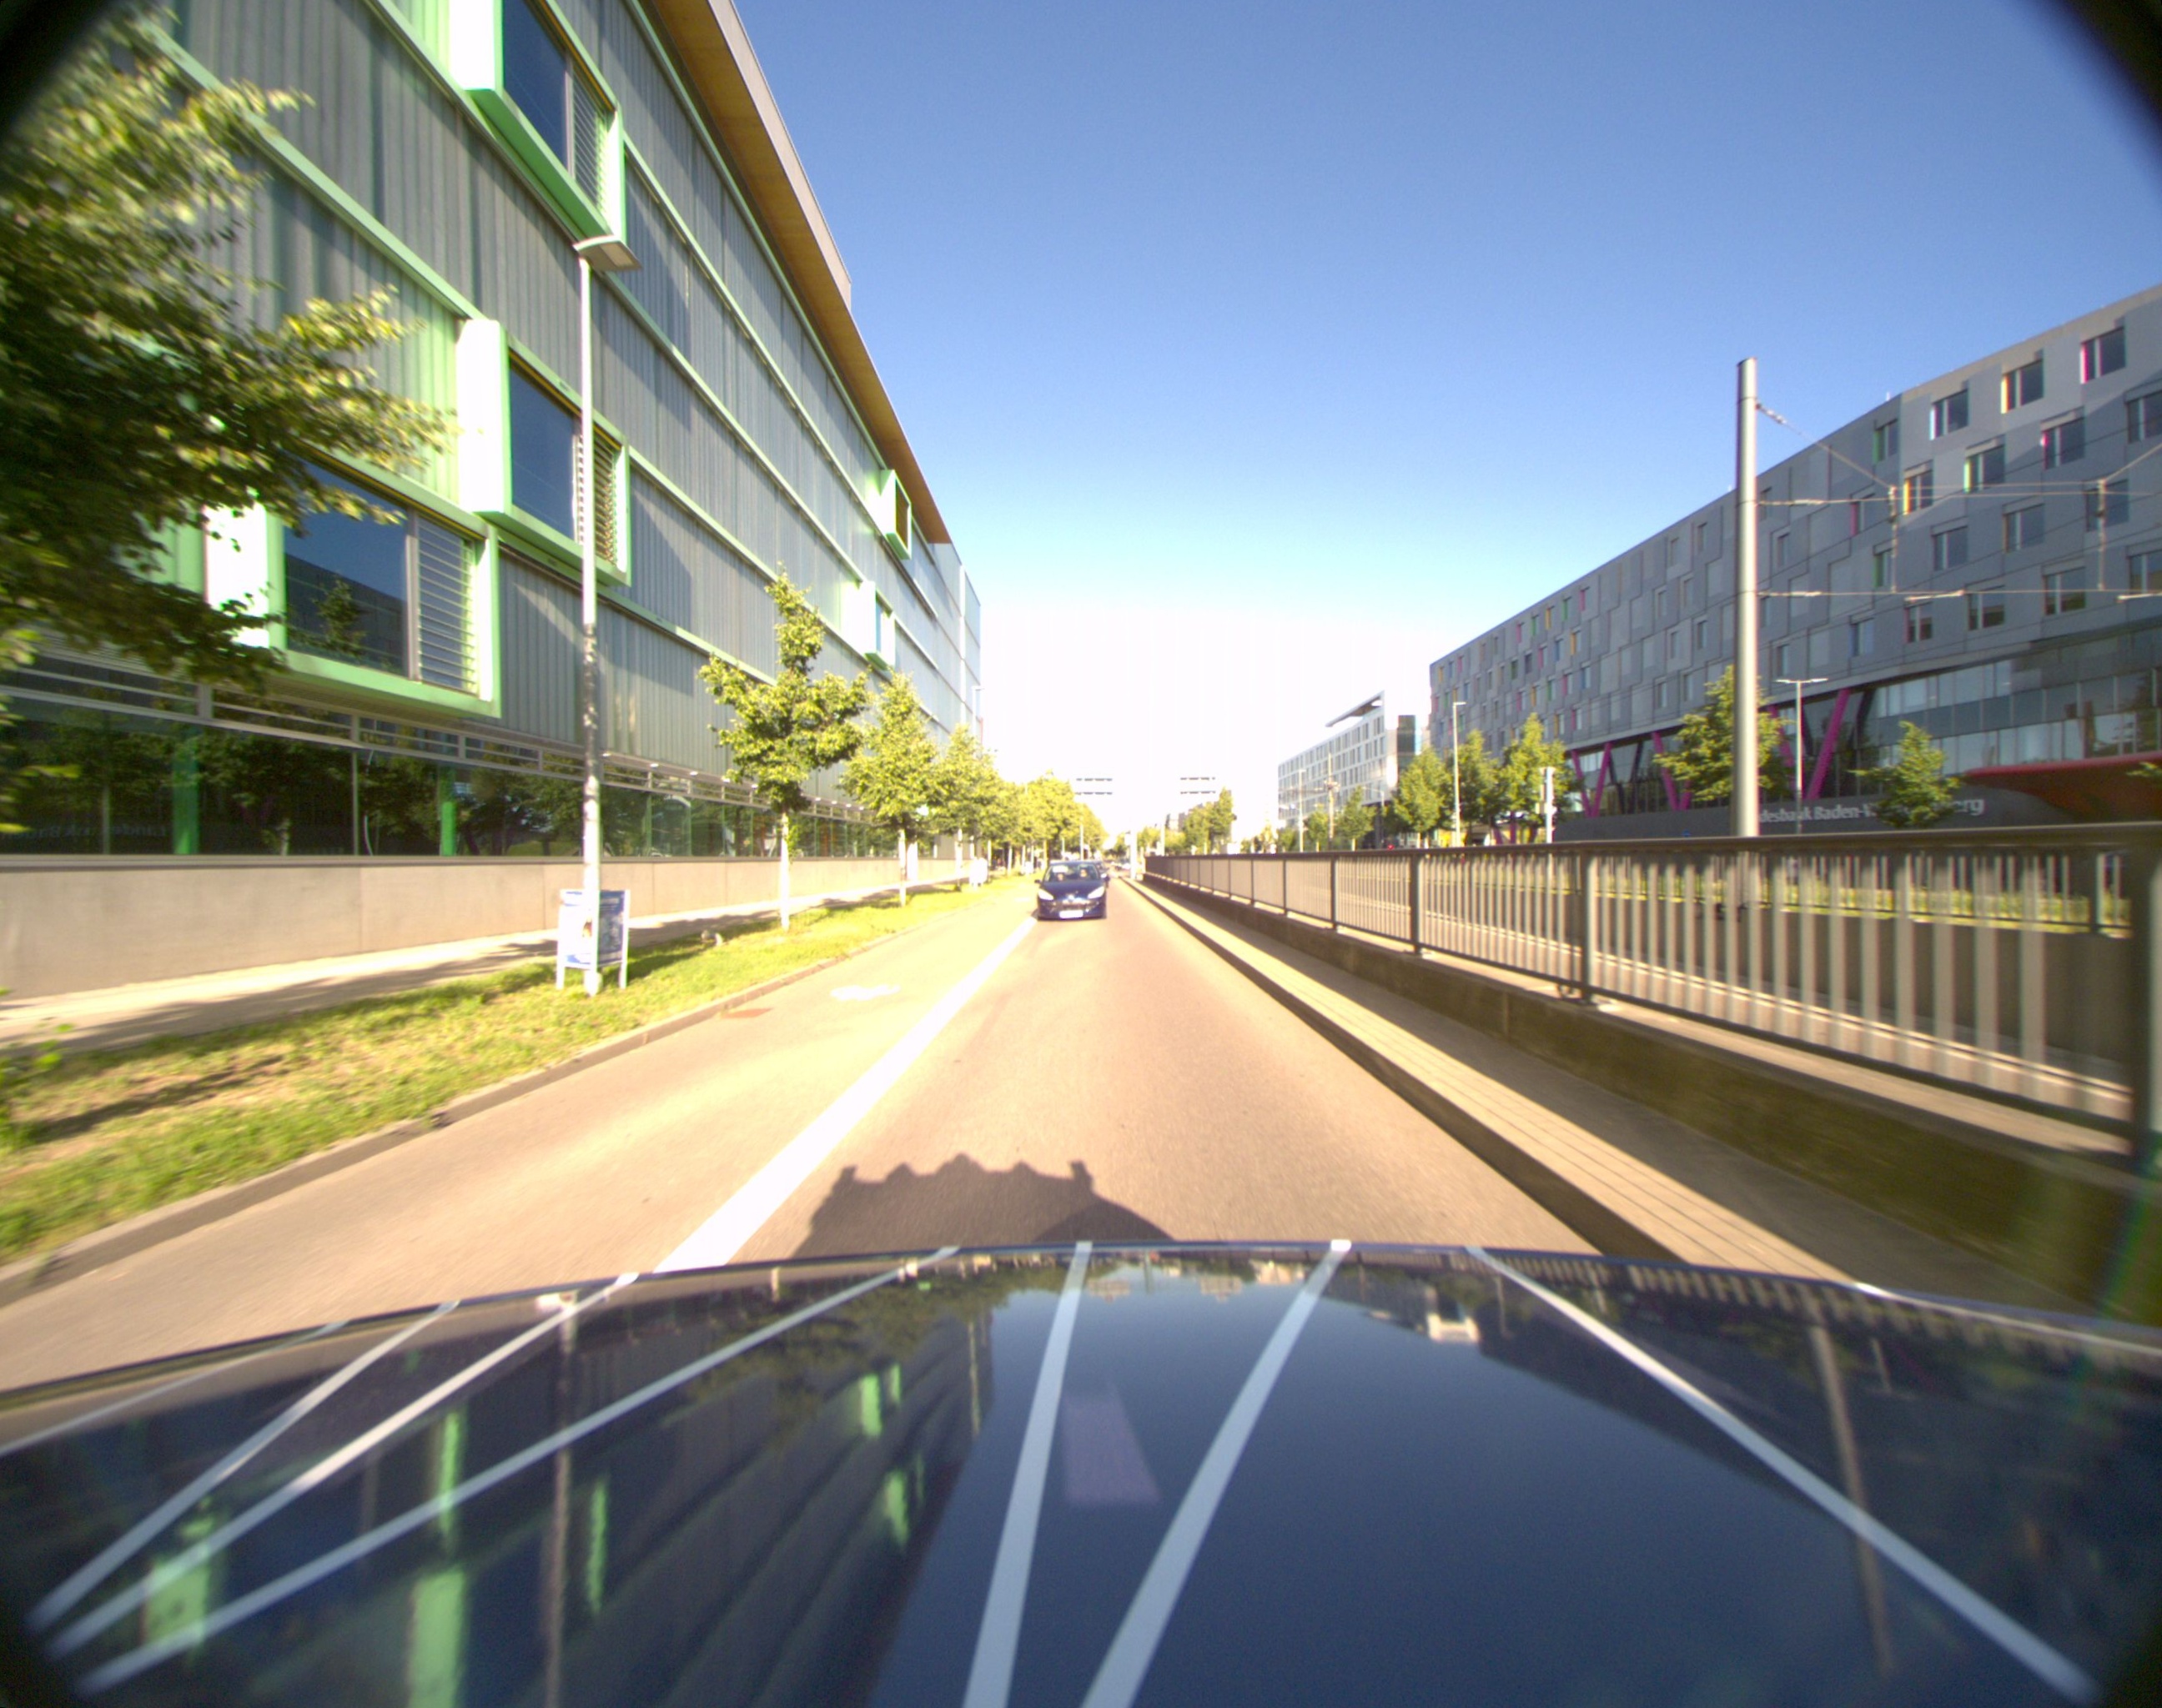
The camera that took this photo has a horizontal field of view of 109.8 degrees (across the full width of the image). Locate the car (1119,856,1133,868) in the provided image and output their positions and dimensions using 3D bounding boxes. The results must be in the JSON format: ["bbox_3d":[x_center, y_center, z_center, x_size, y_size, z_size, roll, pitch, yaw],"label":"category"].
[{"bbox_3d":[5.651,1.034,95.196,1.675,1.418,4.006,-2,0,2],"label":"car"}]

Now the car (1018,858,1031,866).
[{"bbox_3d":[-10.362,1.489,139.766,1.898,1.456,4.038,-1,0,4],"label":"car"}]

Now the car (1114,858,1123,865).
[{"bbox_3d":[8.674,1.694,176.451,1.998,1.543,4.000,-3,0,1],"label":"car"}]

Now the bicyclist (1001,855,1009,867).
[{"bbox_3d":[-11.195,1.043,111.736,0.875,1.727,0.833,0,0,13],"label":"bicyclist"}]

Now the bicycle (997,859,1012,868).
[{"bbox_3d":[-11.262,1.402,111.777,2.100,1.196,0.552,0,0,13],"label":"bicycle"}]

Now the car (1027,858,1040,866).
[{"bbox_3d":[-9.492,1.535,153.569,1.898,1.479,4.348,-1,0,6],"label":"car"}]

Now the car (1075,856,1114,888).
[{"bbox_3d":[0.778,0.896,39.838,1.802,1.518,4.606,-2,0,3],"label":"car"}]

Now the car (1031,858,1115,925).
[{"bbox_3d":[-0.087,0.909,20.432,1.802,1.518,4.607,-2,0,5],"label":"car"}]

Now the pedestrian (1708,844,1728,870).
[{"bbox_3d":[45.835,0.223,54.648,0.722,1.811,0.871,-1,0,2],"label":"pedestrian"}]

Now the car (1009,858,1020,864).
[{"bbox_3d":[-15.711,1.617,178.884,1.998,1.520,4.655,1,0,1],"label":"car"}]

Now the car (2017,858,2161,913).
[{"bbox_3d":[32.747,0.935,23.527,1.803,1.518,4.719,-2,0,3],"label":"car"}]

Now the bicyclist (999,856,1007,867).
[{"bbox_3d":[-11.383,1.090,110.824,0.875,1.644,0.794,0,0,13],"label":"bicyclist"}]

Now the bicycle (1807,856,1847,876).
[{"bbox_3d":[45.130,0.717,45.962,0.521,1.165,1.975,-1,0,1],"label":"bicycle"}]

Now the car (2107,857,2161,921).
[{"bbox_3d":[32.079,1.024,21.005,1.998,1.828,4.000,0,0,1],"label":"car"}]

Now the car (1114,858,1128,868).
[{"bbox_3d":[6.273,1.377,119.332,1.840,1.483,4.004,-2,0,-3],"label":"car"}]

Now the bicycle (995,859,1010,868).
[{"bbox_3d":[-11.405,1.402,110.847,2.100,1.196,0.552,0,0,16],"label":"bicycle"}]

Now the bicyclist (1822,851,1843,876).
[{"bbox_3d":[45.446,0.557,45.950,0.560,1.487,0.763,-1,0,1],"label":"bicyclist"}]
